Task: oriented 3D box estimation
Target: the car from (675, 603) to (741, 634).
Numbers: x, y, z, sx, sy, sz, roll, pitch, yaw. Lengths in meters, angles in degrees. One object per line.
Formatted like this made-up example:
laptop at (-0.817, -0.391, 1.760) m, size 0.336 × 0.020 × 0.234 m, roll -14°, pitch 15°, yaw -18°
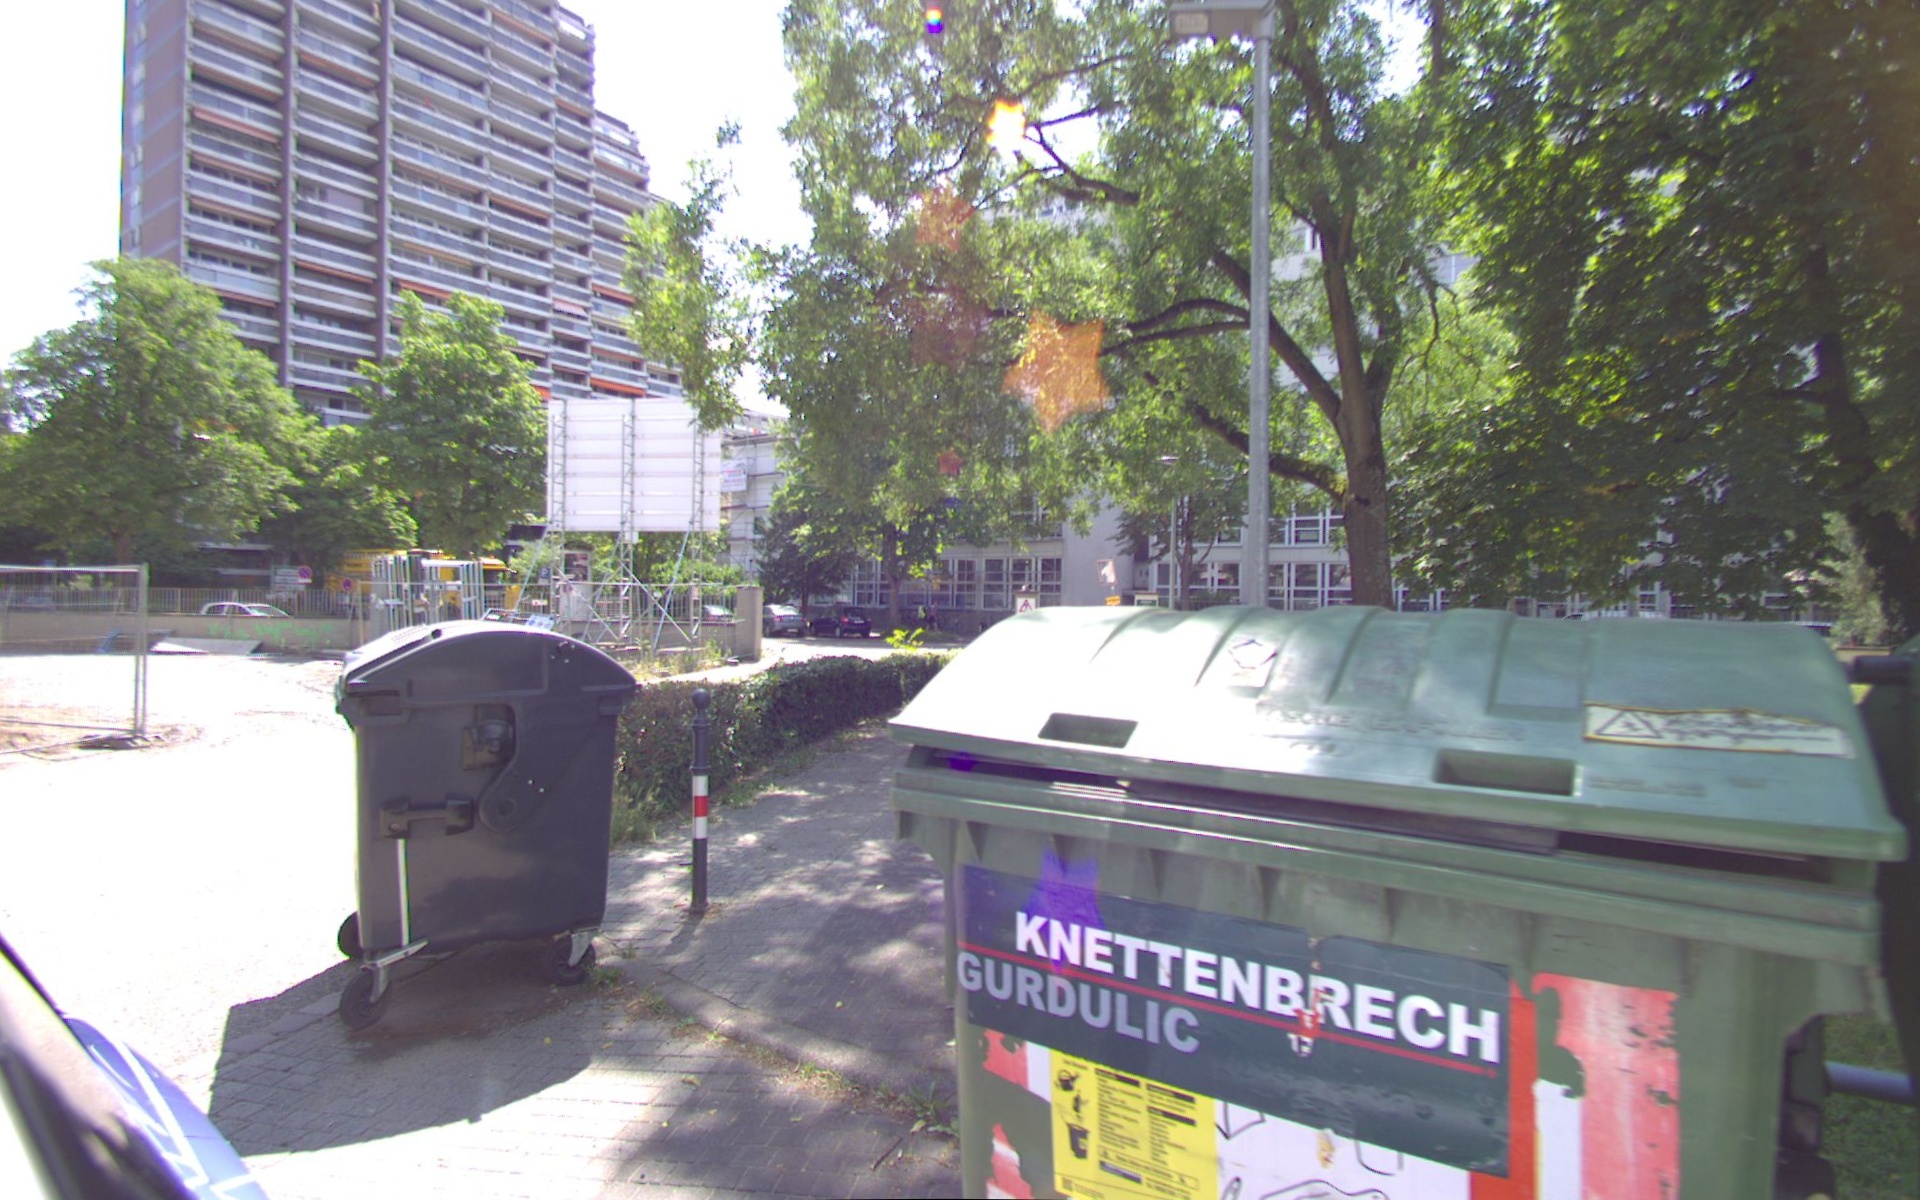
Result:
car at (-12.024, 0.856, 48.101) m, size 1.603 × 1.383 × 4.031 m, roll 1°, pitch -1°, yaw -37°

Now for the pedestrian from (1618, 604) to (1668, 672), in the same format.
pedestrian at (16.272, 0.890, 24.127) m, size 0.735 × 1.579 × 0.696 m, roll 0°, pitch -1°, yaw 8°

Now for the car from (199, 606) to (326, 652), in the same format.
car at (-23.610, 0.964, 34.290) m, size 3.548 × 1.451 × 1.616 m, roll 1°, pitch -1°, yaw 14°

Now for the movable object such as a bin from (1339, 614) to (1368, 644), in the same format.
movable object such as a bin at (18.789, 1.395, 48.353) m, size 1.172 × 1.409 × 1.032 m, roll 0°, pitch -1°, yaw 17°

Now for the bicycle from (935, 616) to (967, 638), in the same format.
bicycle at (-0.446, 1.404, 52.880) m, size 0.568 × 1.139 × 1.917 m, roll 0°, pitch -1°, yaw 40°

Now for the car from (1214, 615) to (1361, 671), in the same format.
car at (9.192, 1.225, 28.588) m, size 3.680 × 1.468 × 1.586 m, roll 1°, pitch -3°, yaw 6°

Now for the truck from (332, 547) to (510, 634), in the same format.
truck at (-27.042, -0.482, 50.618) m, size 9.692 × 4.036 × 2.727 m, roll 0°, pitch 0°, yaw 26°

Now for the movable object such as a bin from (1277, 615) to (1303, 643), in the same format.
movable object such as a bin at (15.910, 1.400, 48.825) m, size 1.065 × 1.340 × 0.968 m, roll 0°, pitch -1°, yaw 11°

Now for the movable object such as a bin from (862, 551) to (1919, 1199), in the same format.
movable object such as a bin at (0.727, 0.711, 1.679) m, size 1.322 × 1.490 × 1.194 m, roll 0°, pitch -1°, yaw 34°

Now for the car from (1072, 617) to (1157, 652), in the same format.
car at (6.884, 1.506, 45.229) m, size 1.725 × 1.473 × 3.548 m, roll 1°, pitch -1°, yaw -37°

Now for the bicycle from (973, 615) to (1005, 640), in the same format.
bicycle at (1.493, 1.428, 52.217) m, size 0.568 × 1.247 × 1.917 m, roll 0°, pitch -1°, yaw 40°

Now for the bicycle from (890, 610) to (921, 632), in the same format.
bicycle at (-2.952, 1.150, 55.021) m, size 0.567 × 1.139 × 1.903 m, roll 0°, pitch -1°, yaw 37°

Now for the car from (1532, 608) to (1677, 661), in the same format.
car at (26.338, 1.358, 41.543) m, size 1.965 × 2.029 × 4.645 m, roll 1°, pitch -1°, yaw -28°

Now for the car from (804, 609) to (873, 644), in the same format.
car at (-5.669, 1.200, 47.076) m, size 1.623 × 1.528 × 3.584 m, roll 1°, pitch -1°, yaw -37°

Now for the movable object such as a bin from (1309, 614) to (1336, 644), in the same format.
movable object such as a bin at (17.421, 1.383, 48.673) m, size 1.172 × 1.409 × 1.032 m, roll 0°, pitch -1°, yaw 17°

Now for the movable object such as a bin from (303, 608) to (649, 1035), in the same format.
movable object such as a bin at (-1.971, 0.746, 4.131) m, size 1.097 × 1.405 × 1.164 m, roll 1°, pitch -1°, yaw -30°

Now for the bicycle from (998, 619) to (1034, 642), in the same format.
bicycle at (2.846, 1.533, 51.286) m, size 0.568 × 1.139 × 2.205 m, roll 0°, pitch -1°, yaw 40°

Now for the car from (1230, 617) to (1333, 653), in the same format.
car at (13.853, 1.473, 43.768) m, size 1.687 × 1.424 × 3.990 m, roll 1°, pitch -1°, yaw -37°

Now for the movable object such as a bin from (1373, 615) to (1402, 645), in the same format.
movable object such as a bin at (20.265, 1.407, 48.003) m, size 1.172 × 1.409 × 1.032 m, roll 0°, pitch -1°, yaw 17°

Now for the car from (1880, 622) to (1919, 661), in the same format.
car at (39.179, 1.726, 39.904) m, size 1.722 × 1.397 × 4.009 m, roll -1°, pitch 3°, yaw -37°

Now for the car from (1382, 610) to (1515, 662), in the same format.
car at (20.379, 1.448, 42.410) m, size 1.967 × 2.029 × 4.642 m, roll 1°, pitch -1°, yaw -36°

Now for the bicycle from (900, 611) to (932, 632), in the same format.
bicycle at (-2.370, 1.157, 54.515) m, size 0.568 × 1.139 × 1.902 m, roll 0°, pitch -1°, yaw 40°

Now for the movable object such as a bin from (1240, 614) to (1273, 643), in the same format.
movable object such as a bin at (14.367, 1.383, 49.039) m, size 1.436 × 1.340 × 1.122 m, roll 1°, pitch -1°, yaw 11°

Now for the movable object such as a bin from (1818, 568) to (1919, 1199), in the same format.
movable object such as a bin at (1.731, 0.706, 0.790) m, size 1.352 × 1.490 × 1.088 m, roll 0°, pitch -1°, yaw 24°

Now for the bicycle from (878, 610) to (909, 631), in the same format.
bicycle at (-3.631, 1.123, 55.404) m, size 0.567 × 1.139 × 1.903 m, roll 0°, pitch -1°, yaw 37°

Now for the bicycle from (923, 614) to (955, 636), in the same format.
bicycle at (-1.090, 1.309, 53.341) m, size 0.568 × 1.139 × 1.917 m, roll 0°, pitch -1°, yaw 40°

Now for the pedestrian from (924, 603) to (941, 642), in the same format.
pedestrian at (-1.327, 1.112, 49.644) m, size 0.574 × 1.889 × 0.710 m, roll 0°, pitch -1°, yaw 23°

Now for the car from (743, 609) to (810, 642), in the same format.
car at (-8.622, 1.180, 47.392) m, size 1.788 × 1.474 × 4.035 m, roll 1°, pitch -1°, yaw -31°

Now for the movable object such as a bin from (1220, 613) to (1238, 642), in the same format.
movable object such as a bin at (13.453, 1.365, 50.569) m, size 0.799 × 1.416 × 0.761 m, roll 0°, pitch -1°, yaw 23°

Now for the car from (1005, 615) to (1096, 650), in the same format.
car at (4.056, 1.421, 45.718) m, size 1.725 × 1.481 × 4.207 m, roll 1°, pitch -1°, yaw -37°

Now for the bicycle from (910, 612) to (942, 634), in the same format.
bicycle at (-1.818, 1.219, 53.990) m, size 0.568 × 1.139 × 1.917 m, roll 0°, pitch -1°, yaw 40°

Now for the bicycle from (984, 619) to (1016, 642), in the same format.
bicycle at (2.064, 1.557, 51.723) m, size 0.568 × 1.139 × 1.917 m, roll 0°, pitch -1°, yaw 40°
